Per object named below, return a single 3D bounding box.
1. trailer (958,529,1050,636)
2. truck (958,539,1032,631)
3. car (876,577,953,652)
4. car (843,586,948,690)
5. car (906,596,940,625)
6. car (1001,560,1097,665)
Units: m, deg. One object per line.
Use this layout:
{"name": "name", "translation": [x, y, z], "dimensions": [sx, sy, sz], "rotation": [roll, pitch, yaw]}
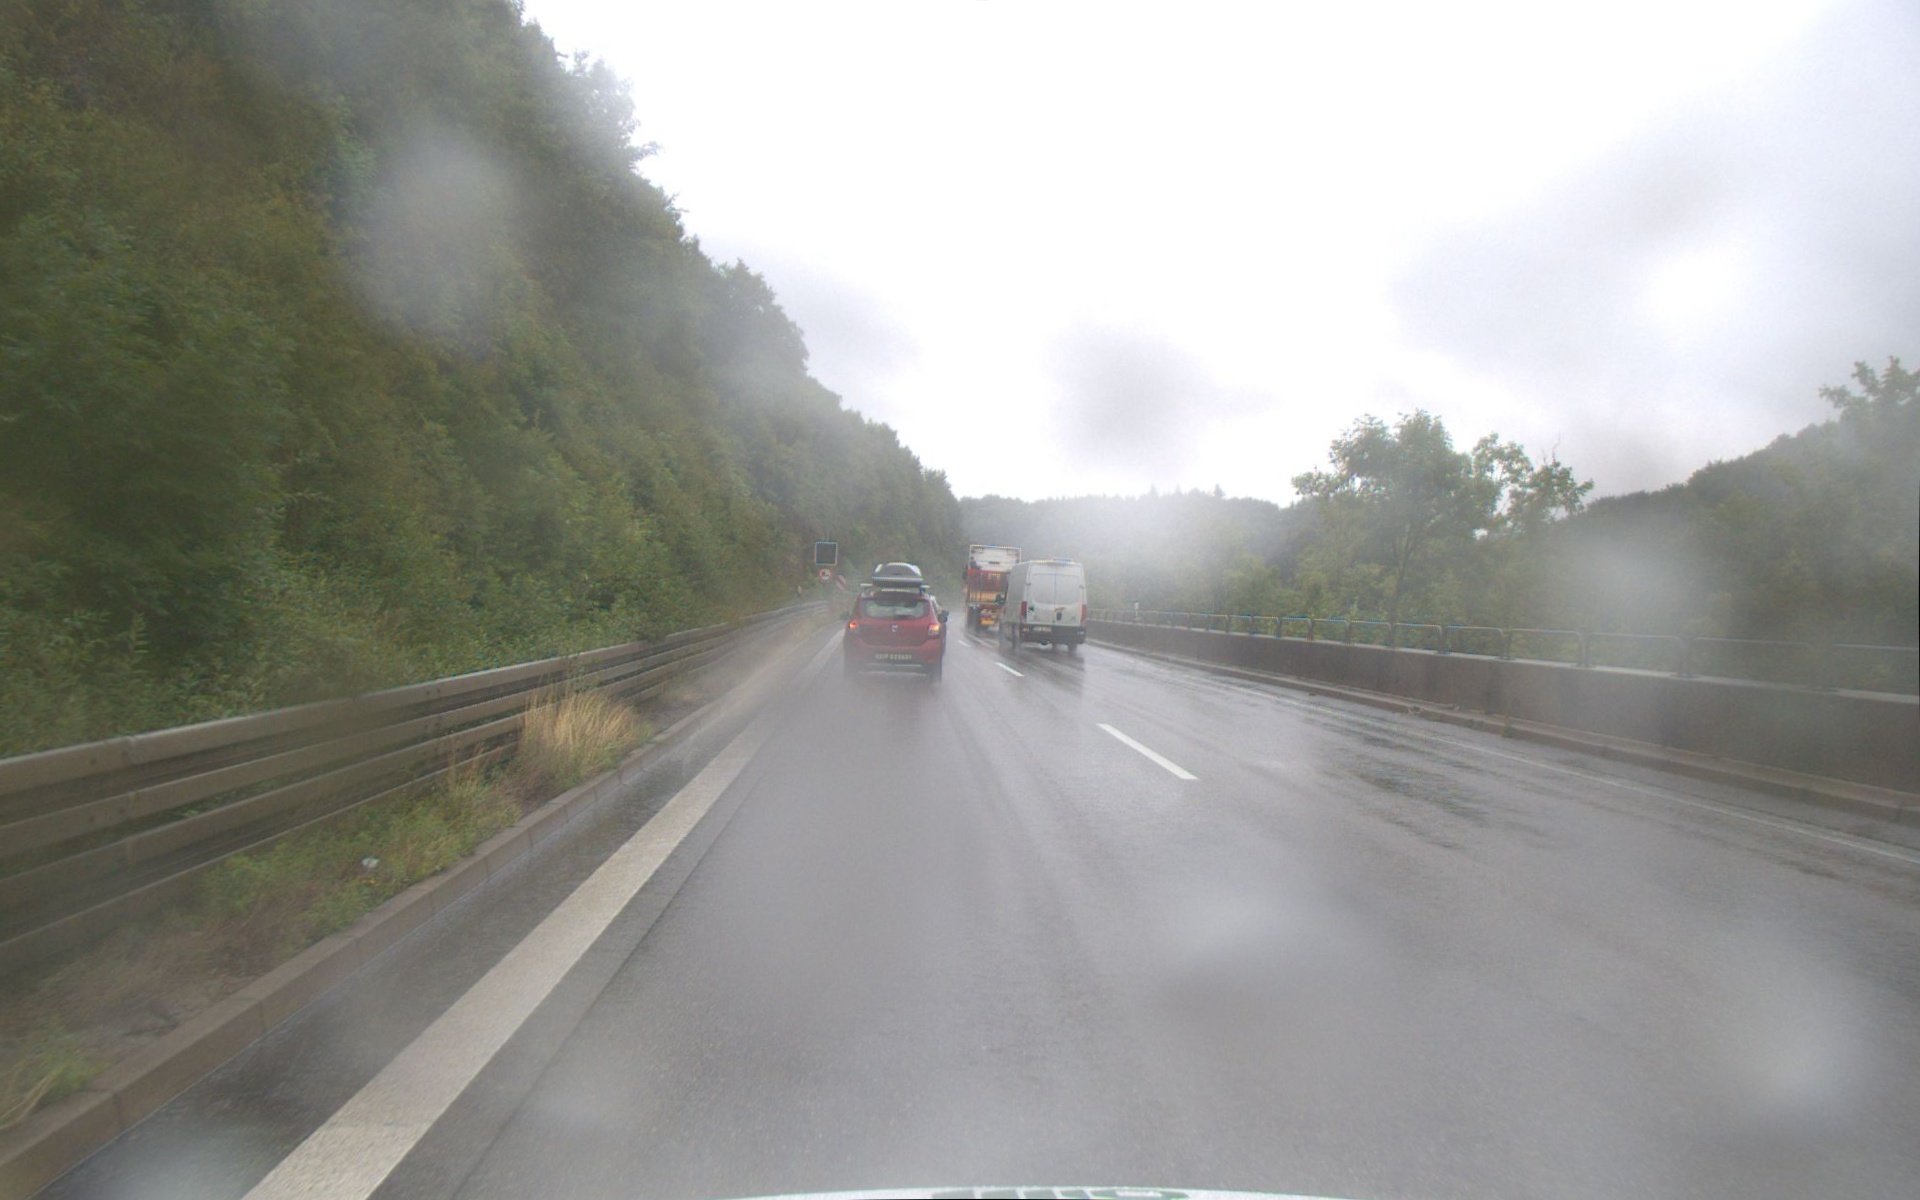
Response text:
{"name": "trailer", "translation": [1.714, -0.656, 71.095], "dimensions": [3.153, 4.068, 13.520], "rotation": [2, 0, -1]}
{"name": "truck", "translation": [1.581, -0.664, 78.145], "dimensions": [3.154, 4.047, 5.437], "rotation": [2, 0, -1]}
{"name": "car", "translation": [-1.132, 0.351, 40.392], "dimensions": [1.796, 1.745, 3.643], "rotation": [0, -1, -2]}
{"name": "car", "translation": [-1.130, 0.644, 29.154], "dimensions": [1.723, 1.714, 3.998], "rotation": [0, -1, -2]}
{"name": "car", "translation": [-2.135, 0.609, 96.539], "dimensions": [1.953, 1.668, 3.999], "rotation": [0, -1, -1]}
{"name": "car", "translation": [2.609, 0.350, 50.552], "dimensions": [2.162, 2.842, 7.379], "rotation": [4, 0, -2]}
